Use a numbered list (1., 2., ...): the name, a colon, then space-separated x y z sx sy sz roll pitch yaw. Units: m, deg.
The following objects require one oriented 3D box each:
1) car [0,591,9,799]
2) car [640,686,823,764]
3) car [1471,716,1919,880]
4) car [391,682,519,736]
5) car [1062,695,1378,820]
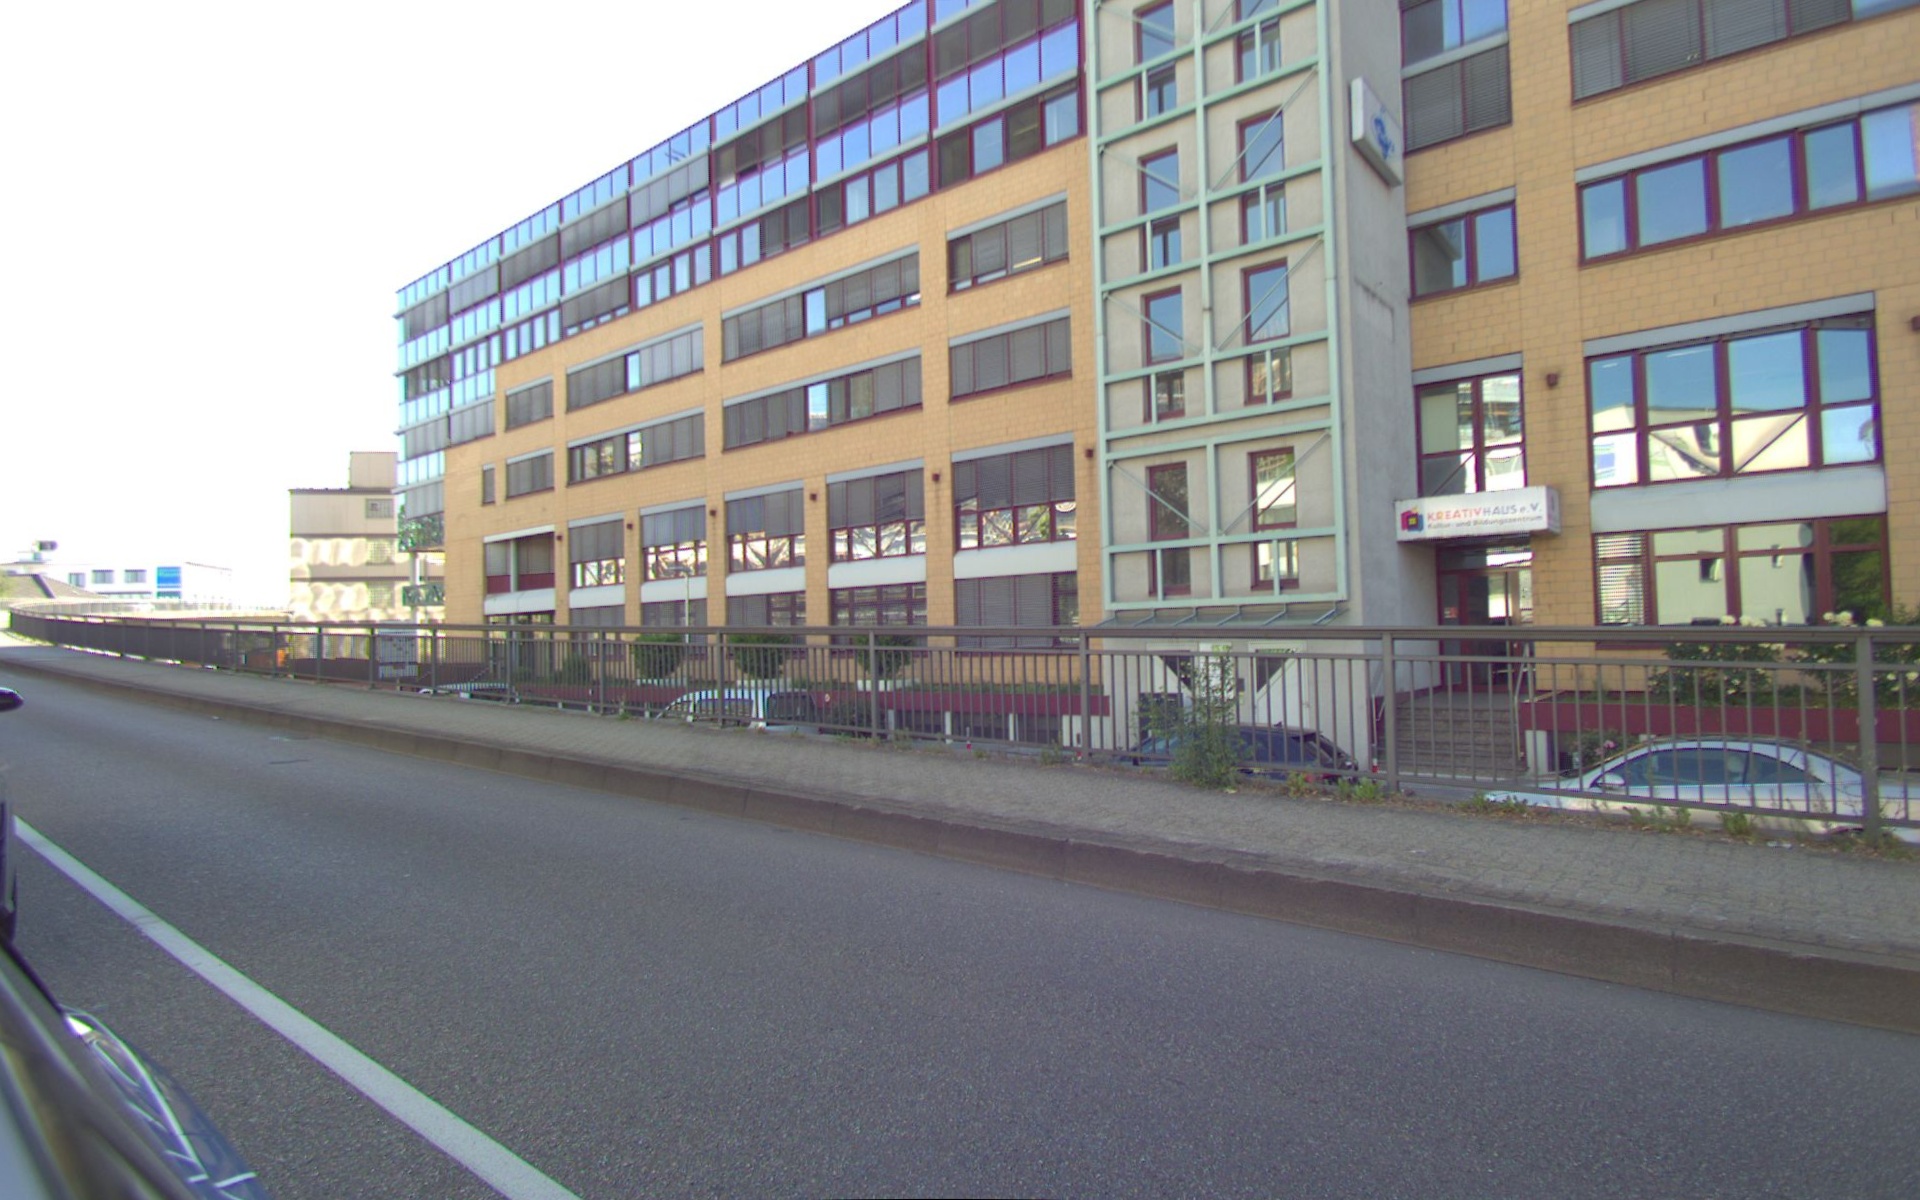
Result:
1. car: -5.842 0.836 4.650 3.998 1.660 1.726 -3 -4 41
2. car: -4.593 2.420 20.121 3.805 1.279 1.560 -3 -4 40
3. car: 7.687 1.881 10.201 4.254 1.175 1.704 -3 -4 40
4. car: -13.819 2.922 27.620 3.805 1.279 1.744 -3 -4 40
5. car: 3.393 1.999 13.575 3.805 1.279 1.560 -3 -4 40
